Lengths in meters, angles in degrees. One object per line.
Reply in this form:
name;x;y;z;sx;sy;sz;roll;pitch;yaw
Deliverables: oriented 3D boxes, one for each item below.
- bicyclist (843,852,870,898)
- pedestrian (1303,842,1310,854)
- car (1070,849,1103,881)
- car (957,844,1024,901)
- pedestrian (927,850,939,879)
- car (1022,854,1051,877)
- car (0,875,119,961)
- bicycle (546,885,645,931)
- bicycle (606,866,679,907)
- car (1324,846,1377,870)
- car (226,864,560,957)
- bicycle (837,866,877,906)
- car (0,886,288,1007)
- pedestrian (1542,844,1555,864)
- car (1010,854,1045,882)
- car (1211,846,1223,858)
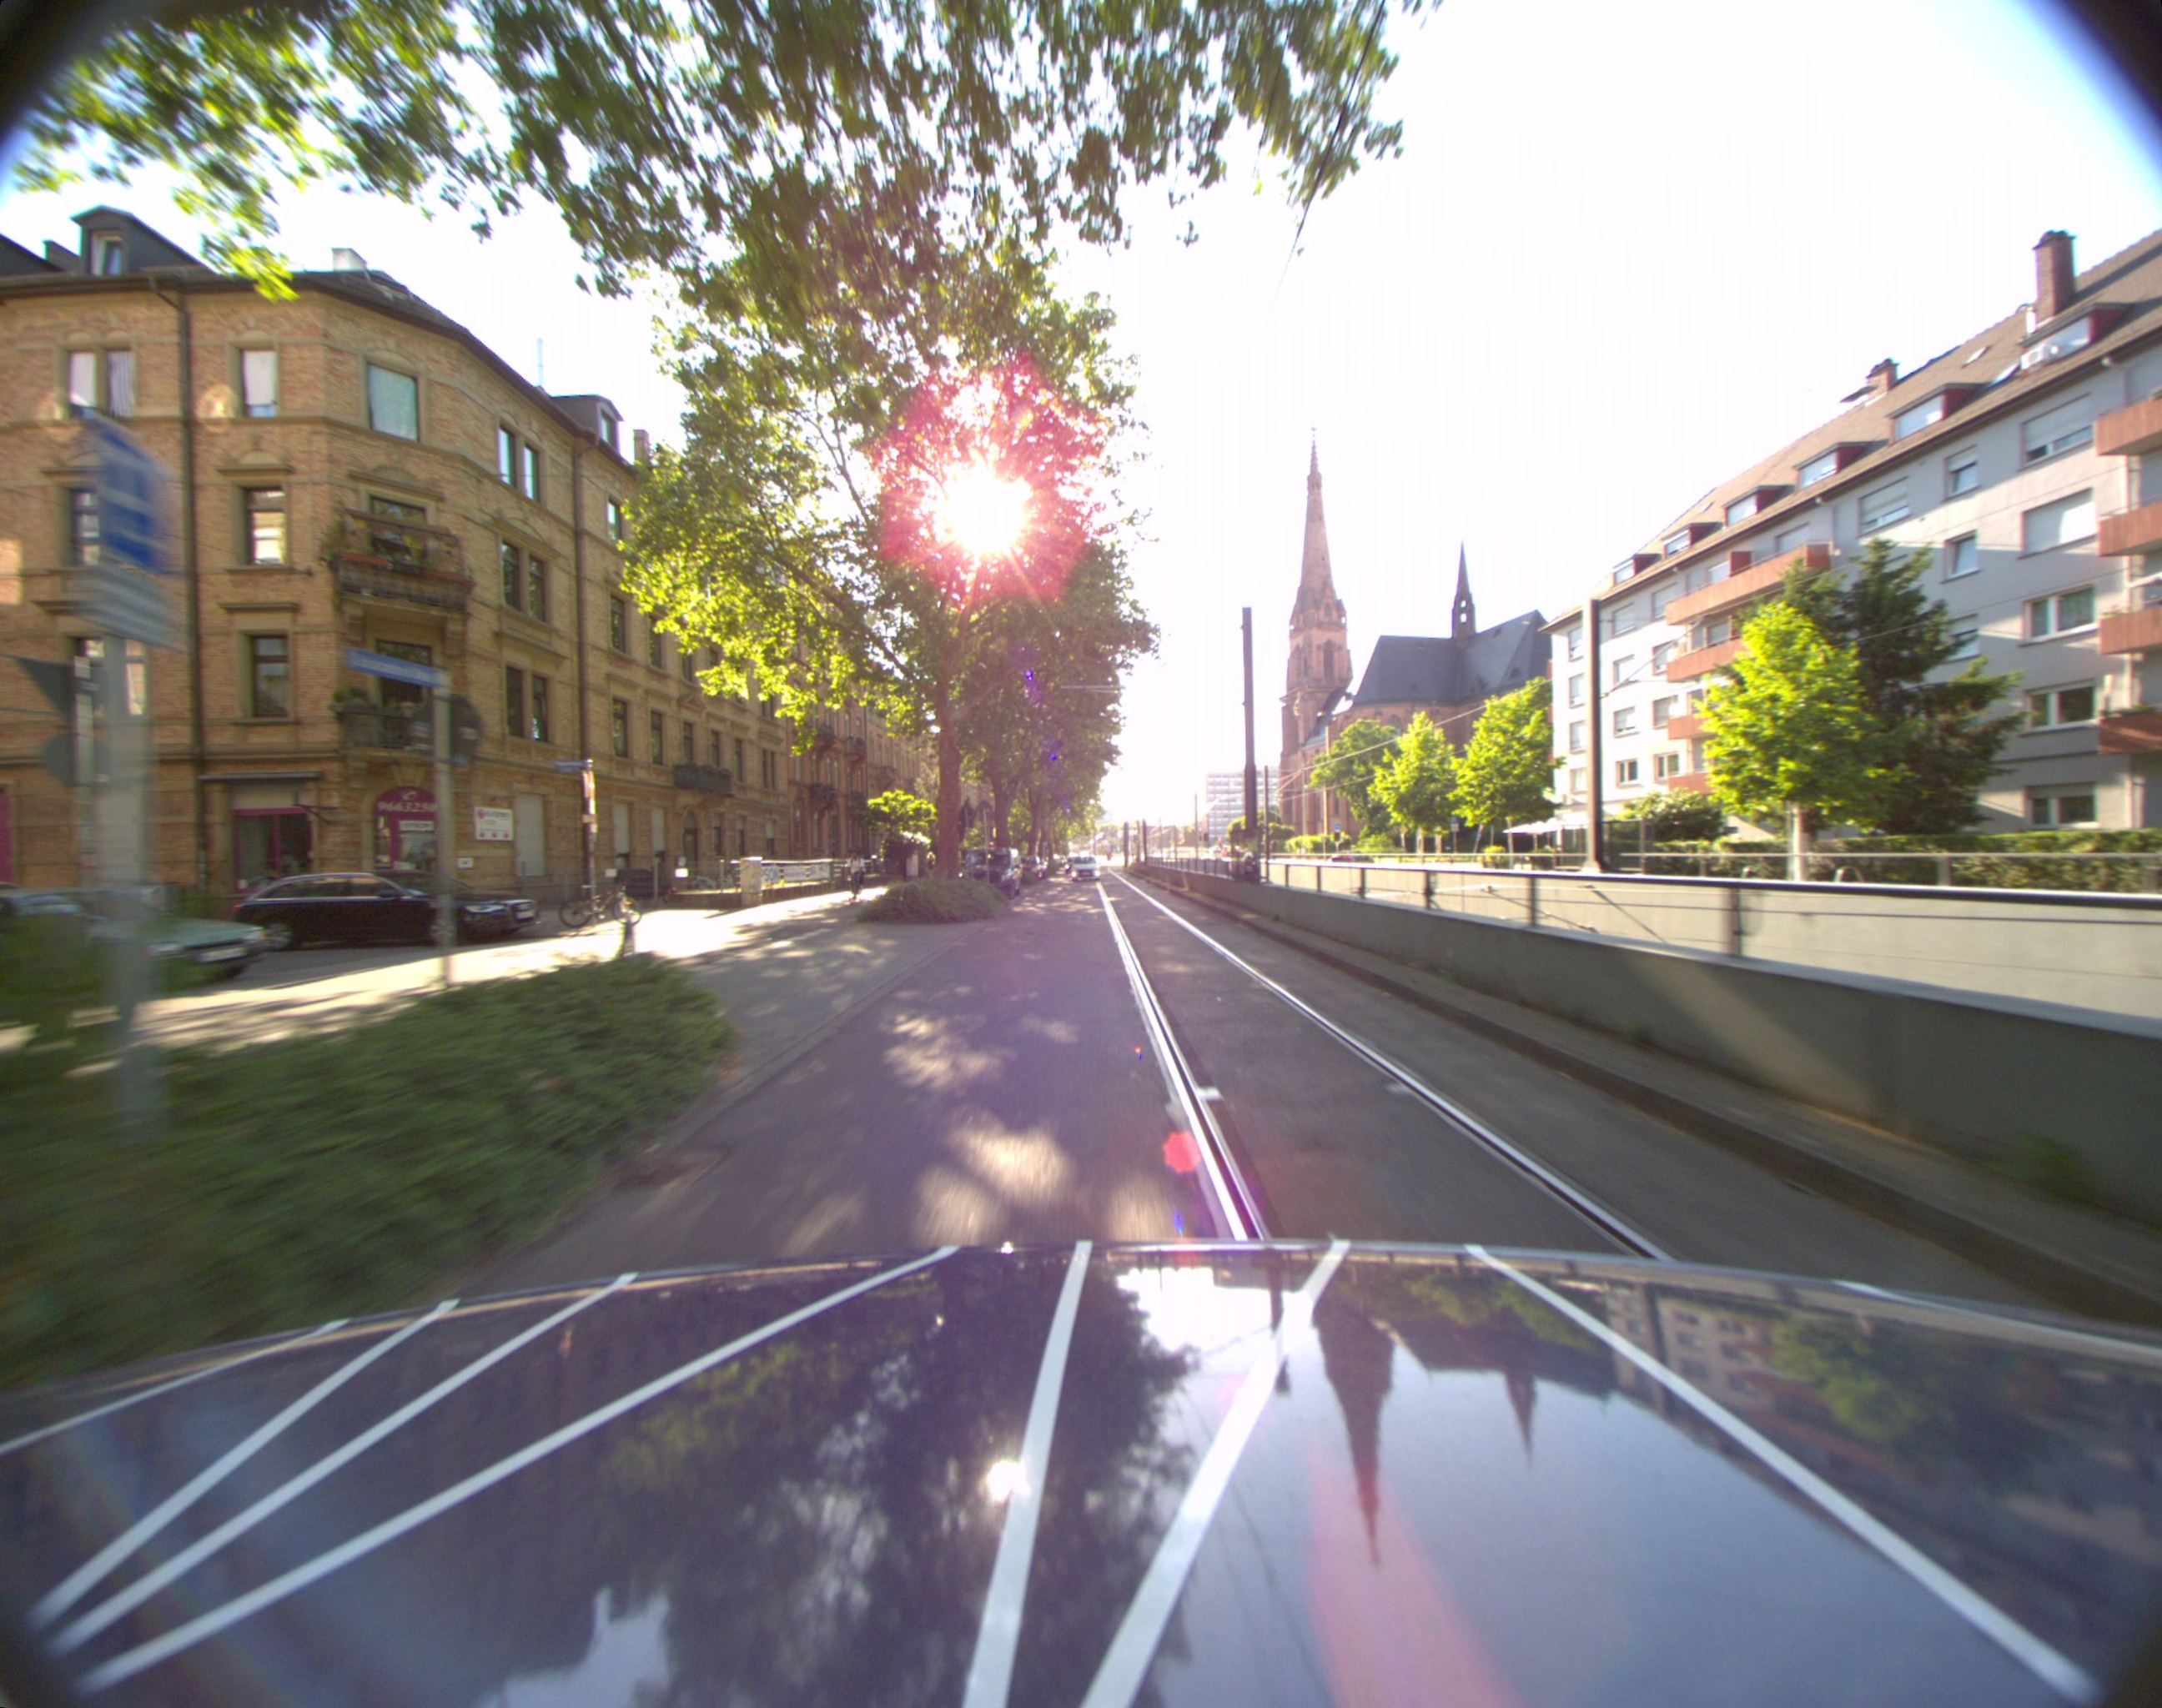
bicyclist;-7.019;0.657;23.767;0.544;1.372;0.644;-4;0;-1
pedestrian;29.400;-0.752;99.100;0.587;1.480;0.946;-4;1;-3
car;0.378;0.585;44.647;1.823;1.729;3.999;0;2;2
car;-3.353;0.658;29.202;1.999;2.002;5.201;0;0;-1
pedestrian;-8.179;0.588;42.082;0.531;1.618;0.618;1;0;1
car;-2.990;0.747;51.730;1.719;1.454;3.999;-1;1;0
car;-22.169;1.263;14.887;4.130;1.539;1.742;-1;1;-4
bicycle;-10.634;1.173;16.677;1.696;0.911;0.602;-1;1;-11
bicycle;-12.844;0.950;22.253;1.867;1.147;0.476;-1;1;4
car;19.878;0.275;55.919;1.972;1.495;4.416;-3;1;43
car;-13.323;1.050;14.998;4.615;1.539;1.922;-2;1;-4
bicycle;-6.993;0.967;23.797;0.562;1.171;2.226;-4;-1;-1
car;-13.175;1.147;9.780;3.998;1.356;1.743;-1;-1;-3
pedestrian;39.826;-0.033;64.734;0.512;1.645;0.720;-4;1;-1
car;-3.160;0.786;45.531;1.718;1.540;4.500;0;1;1
car;23.254;-0.332;129.932;1.997;2.002;5.015;1;1;9
